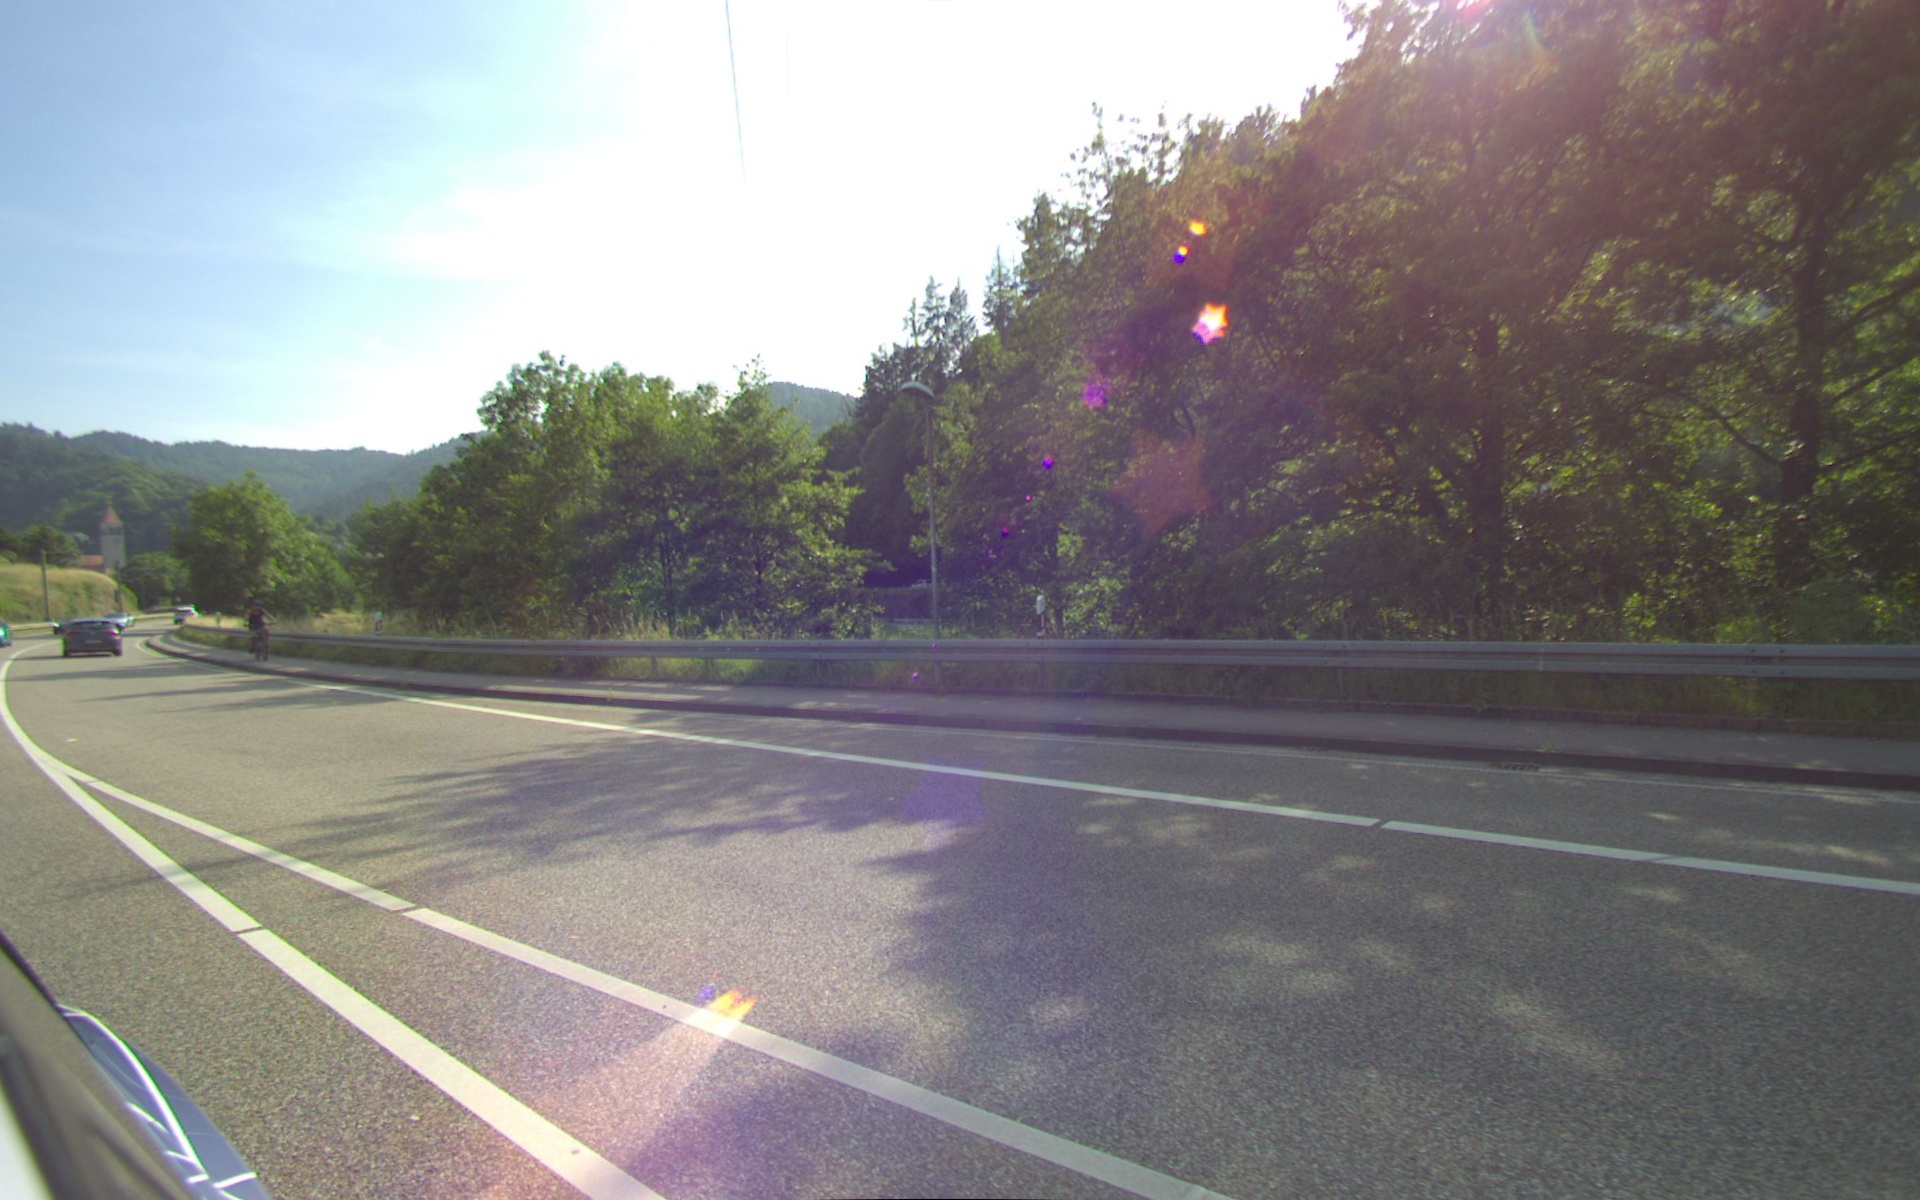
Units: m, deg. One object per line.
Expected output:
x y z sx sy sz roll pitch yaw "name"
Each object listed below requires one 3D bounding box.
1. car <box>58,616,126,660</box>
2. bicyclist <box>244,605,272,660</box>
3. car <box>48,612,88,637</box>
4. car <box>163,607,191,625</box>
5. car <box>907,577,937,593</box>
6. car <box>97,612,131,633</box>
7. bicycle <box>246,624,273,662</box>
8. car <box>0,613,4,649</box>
-33.569 1.416 39.188 1.867 1.499 4.006 -3 1 -40 "car"
-21.166 0.969 30.503 0.550 1.598 1.038 -6 3 -36 "bicyclist"
-66.735 1.780 75.739 1.855 1.758 4.188 -2 0 -36 "car"
-77.284 1.551 99.899 1.969 1.641 4.006 0 1 -40 "car"
-4.859 -1.905 129.016 1.846 1.745 4.010 -7 4 -35 "car"
-76.407 2.020 91.439 1.855 1.758 4.190 -2 0 -33 "car"
-21.098 1.265 30.462 0.550 1.053 2.234 -6 3 -36 "bicycle"
-49.291 1.561 50.695 1.857 1.758 4.184 0 0 -41 "car"
